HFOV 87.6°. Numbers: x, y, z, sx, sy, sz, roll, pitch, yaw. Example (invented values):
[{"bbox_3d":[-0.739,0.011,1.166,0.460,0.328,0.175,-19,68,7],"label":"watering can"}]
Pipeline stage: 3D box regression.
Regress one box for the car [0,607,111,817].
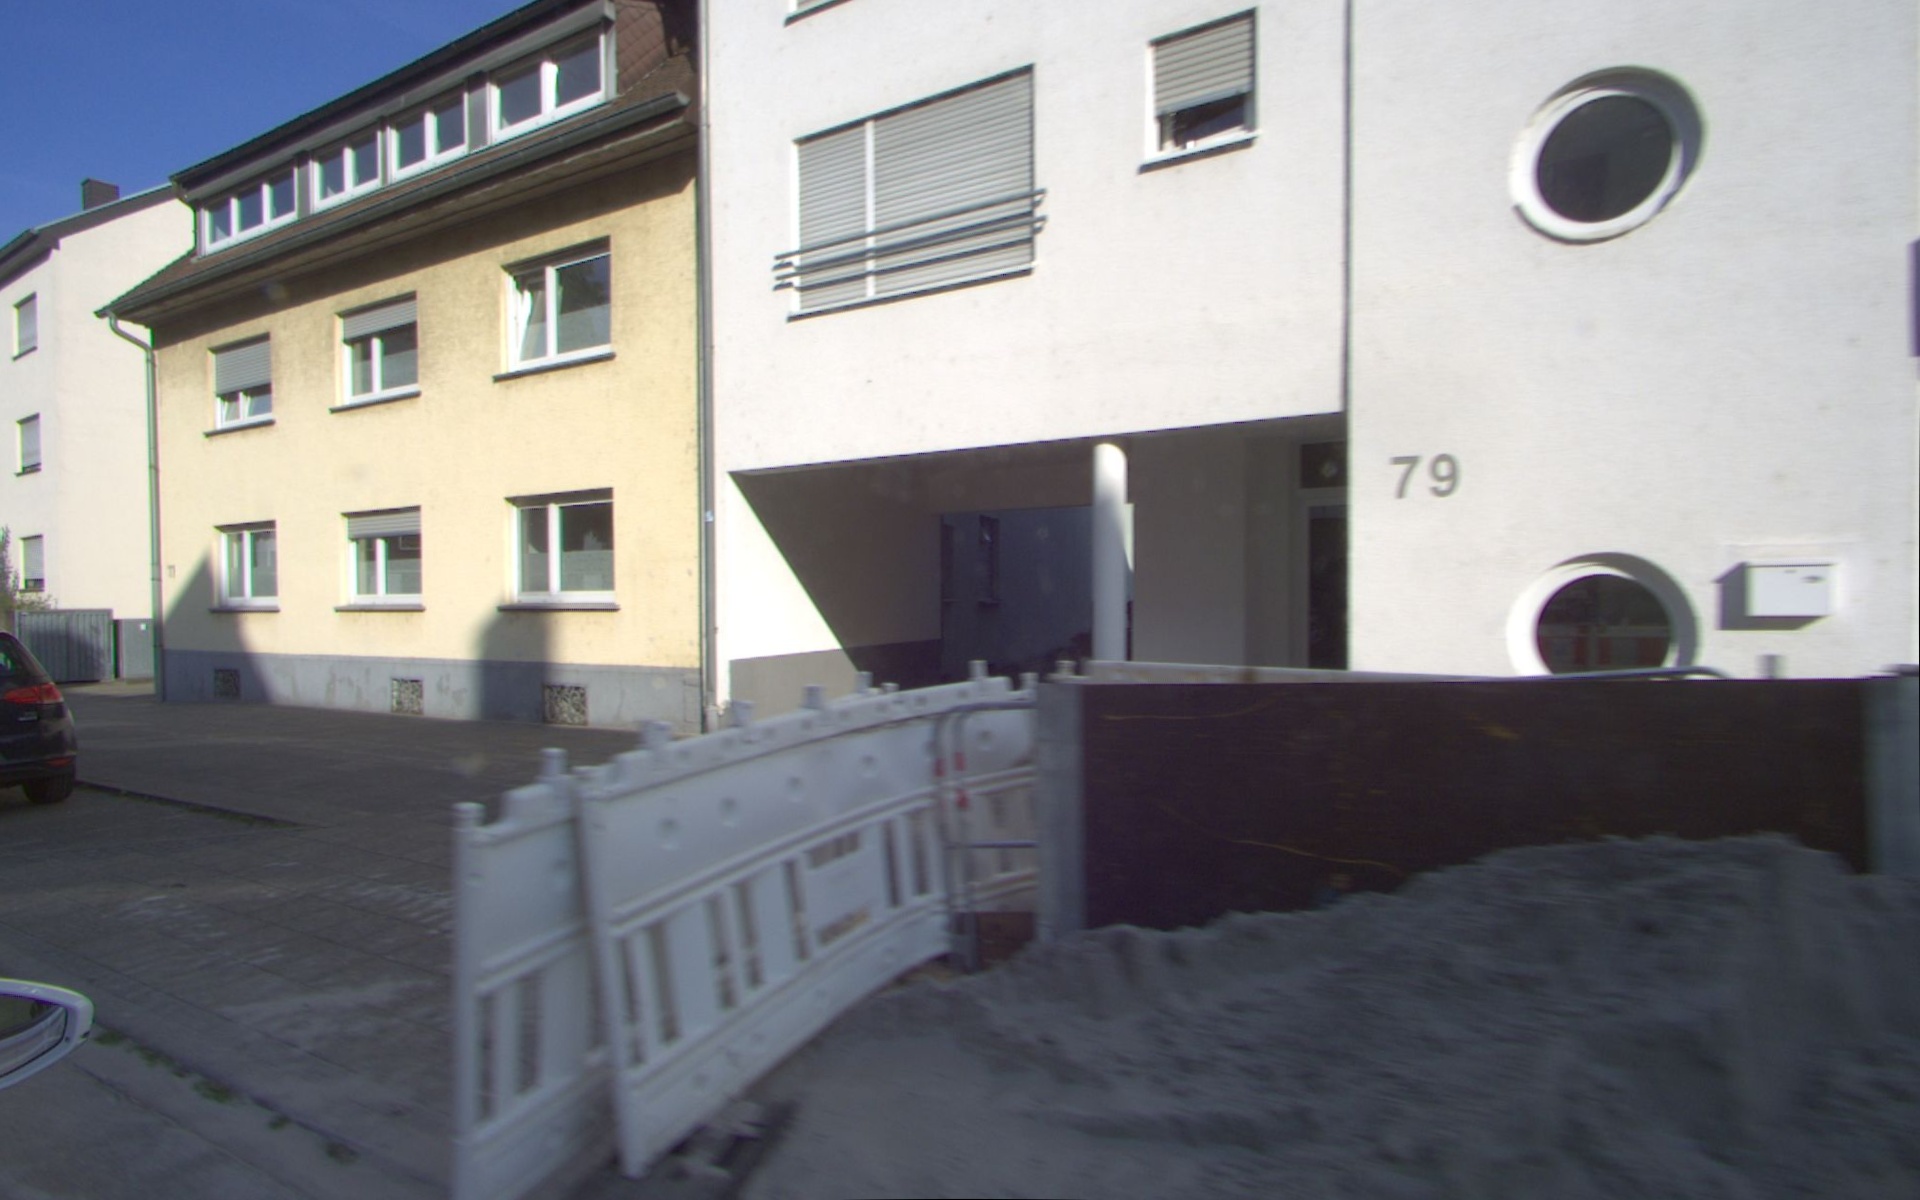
[{"bbox_3d":[-8.723,0.836,8.038,3.886,1.502,1.826,-1,1,33],"label":"car"}]
